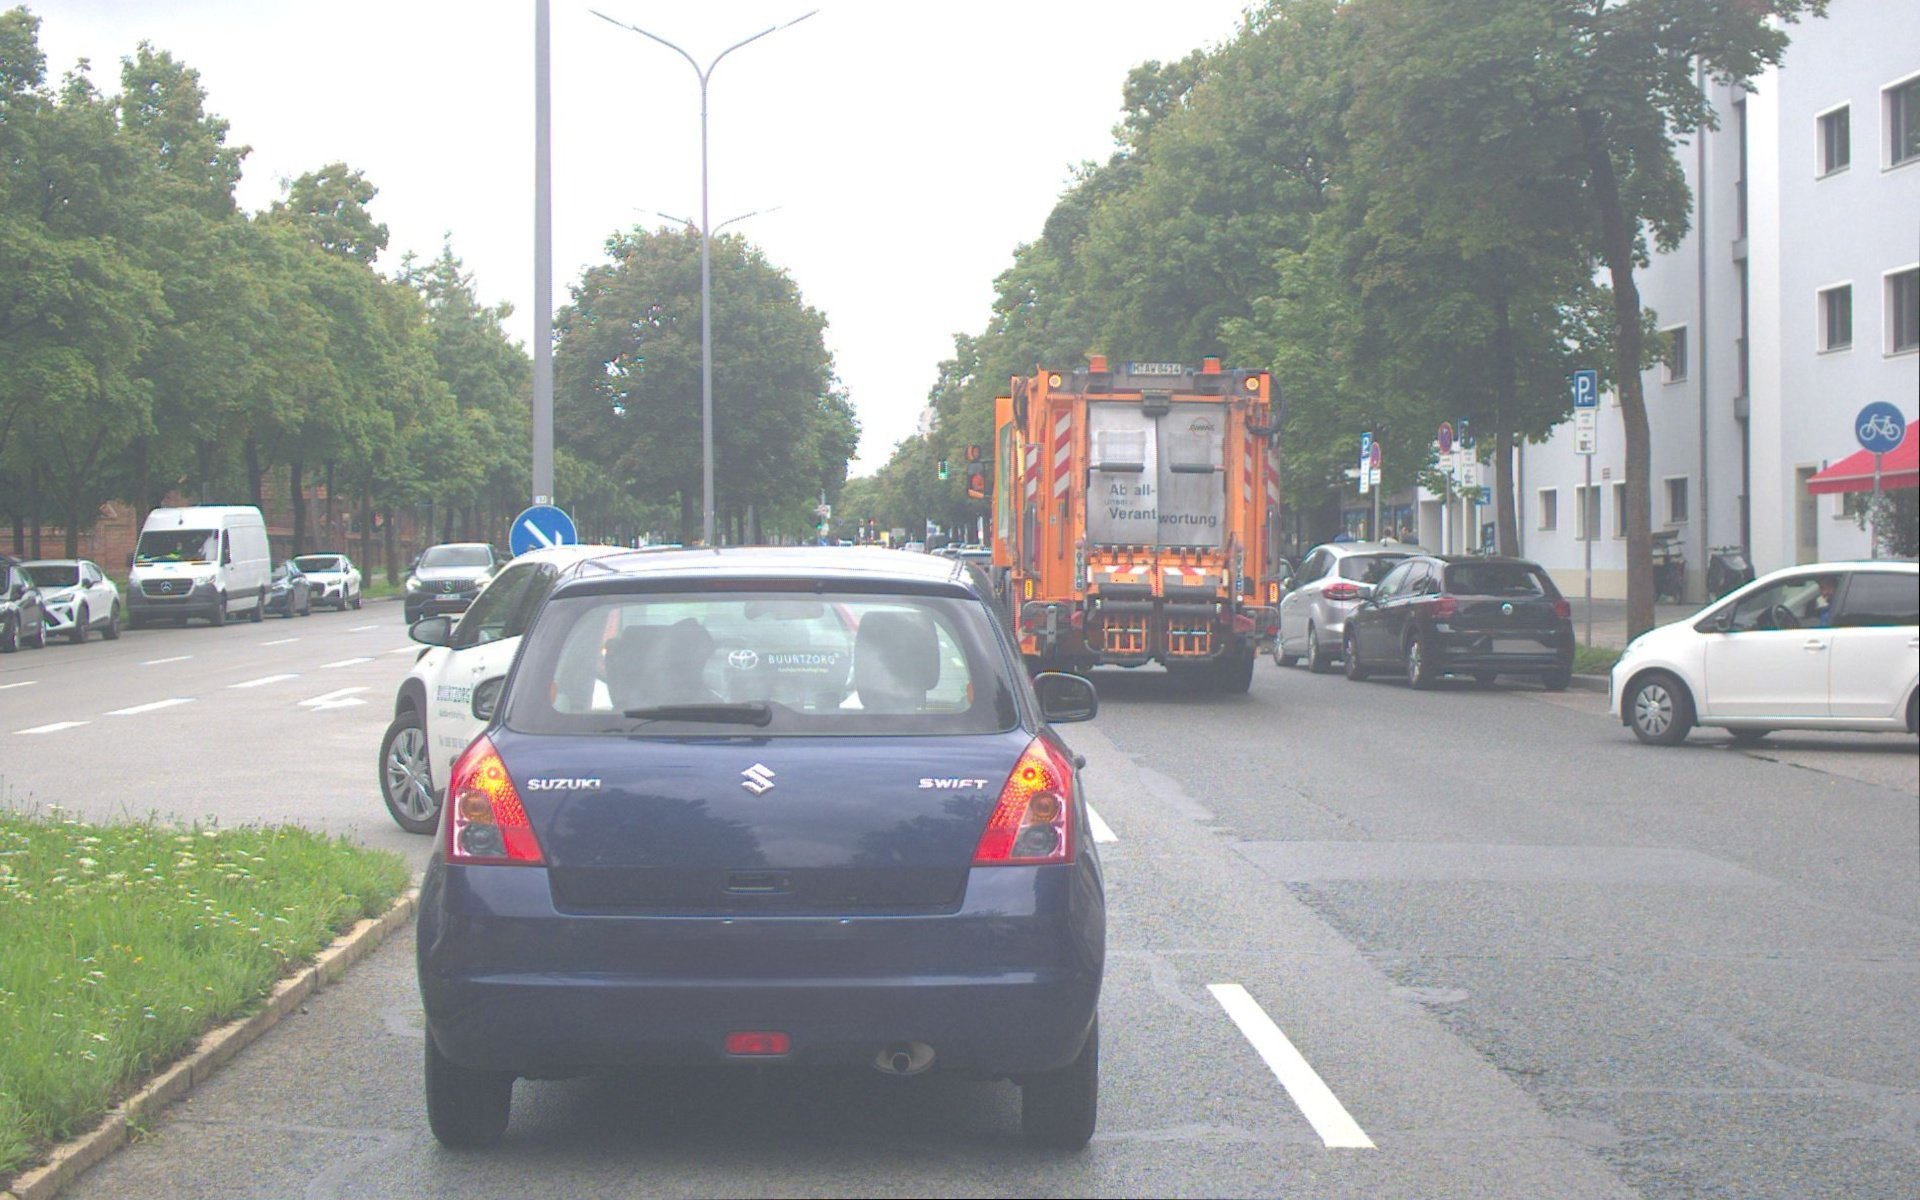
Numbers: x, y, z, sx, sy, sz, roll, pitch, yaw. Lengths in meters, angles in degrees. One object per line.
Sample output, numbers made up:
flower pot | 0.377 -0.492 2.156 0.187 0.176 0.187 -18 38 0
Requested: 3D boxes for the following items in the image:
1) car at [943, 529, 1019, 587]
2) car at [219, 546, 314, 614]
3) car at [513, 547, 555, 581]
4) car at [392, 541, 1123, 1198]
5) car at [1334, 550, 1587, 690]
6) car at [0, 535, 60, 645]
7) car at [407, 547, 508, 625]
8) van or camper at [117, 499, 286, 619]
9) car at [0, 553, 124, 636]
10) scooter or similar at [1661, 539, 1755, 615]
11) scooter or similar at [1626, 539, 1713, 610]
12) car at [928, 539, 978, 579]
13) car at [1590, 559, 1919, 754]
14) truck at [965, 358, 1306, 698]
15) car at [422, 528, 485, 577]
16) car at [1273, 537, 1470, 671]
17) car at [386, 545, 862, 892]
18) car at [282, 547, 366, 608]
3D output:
car | 0.508 -1.088 87.160 1.758 1.408 4.463 1 1 -1
car | -16.814 -0.501 83.492 1.632 1.577 3.879 1 1 -2
car | -20.489 -1.741 165.456 1.632 1.577 3.879 1 1 -2
car | -0.546 0.590 9.894 1.682 1.496 3.919 0 1 -2
car | 5.460 0.181 38.026 1.865 1.412 4.225 -1 1 -4
car | -15.956 -0.191 56.105 1.632 1.735 3.879 1 1 -2
car | -10.339 -0.307 70.891 1.632 1.547 3.879 1 1 -2
van or camper | -16.586 -0.907 75.609 2.117 2.473 7.449 1 1 0
car | -16.179 -0.122 61.438 1.632 1.426 3.879 1 1 -2
scooter or similar | 13.266 -0.423 61.069 1.033 1.303 2.755 0 1 -1
scooter or similar | 13.270 -0.491 64.401 1.033 1.303 2.755 0 1 -1
car | -0.260 -1.494 123.315 1.682 1.379 3.919 1 1 -2
car | 6.937 0.405 26.697 3.556 1.412 1.867 0 2 40
truck | 1.662 -0.760 36.936 3.039 3.178 9.134 1 1 -1
car | -16.782 -1.577 114.004 1.632 1.577 3.879 1 1 -2
car | 5.064 0.012 42.793 1.791 1.553 4.225 -1 1 -2
car | -1.695 0.483 16.508 1.443 1.478 3.107 0 1 -22
car | -16.844 -0.606 91.140 1.632 1.577 3.879 1 1 -2
